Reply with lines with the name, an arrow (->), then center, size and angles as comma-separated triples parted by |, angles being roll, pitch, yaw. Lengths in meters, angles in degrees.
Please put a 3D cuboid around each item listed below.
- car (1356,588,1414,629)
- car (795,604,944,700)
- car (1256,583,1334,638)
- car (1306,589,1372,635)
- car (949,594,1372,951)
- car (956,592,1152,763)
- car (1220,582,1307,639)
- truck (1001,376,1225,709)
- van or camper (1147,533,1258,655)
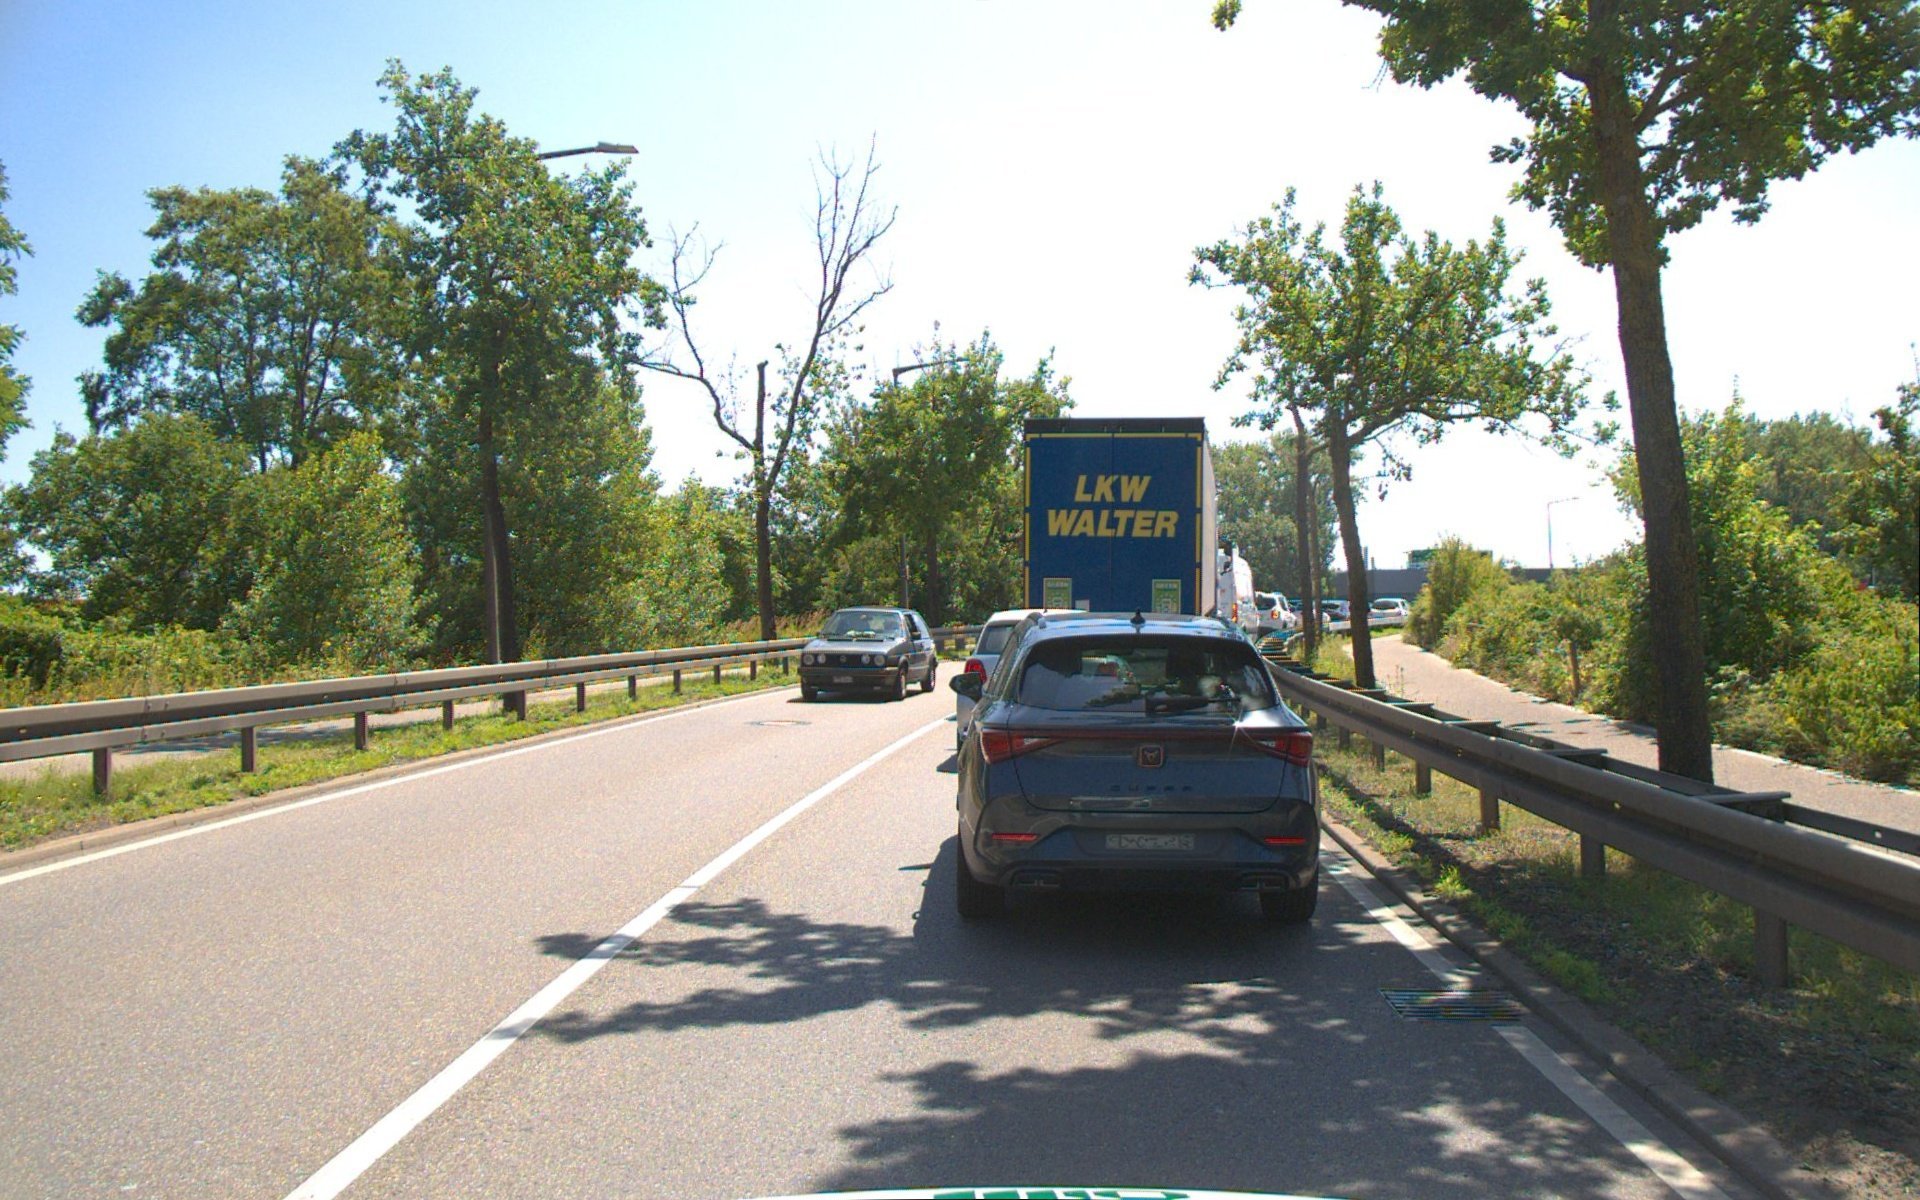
car -> 19.558, 0.380, 76.015 | 1.953, 1.799, 4.753 | 0, 0, 22
car -> -1.367, 0.780, 26.524 | 1.523, 1.396, 3.892 | 0, 0, 10
car -> 11.969, 0.365, 58.878 | 1.952, 1.840, 4.846 | 0, 0, 21
car -> 15.184, 0.463, 66.142 | 1.952, 1.747, 4.869 | 0, 0, 21
car -> 0.818, 0.716, 8.752 | 1.709, 1.457, 3.879 | 1, 0, -1
car -> 0.891, 0.710, 17.036 | 1.772, 1.534, 4.000 | 1, 0, 1
car -> 9.711, 0.329, 52.608 | 1.952, 1.742, 4.621 | 0, 0, 20
truck -> 3.417, -0.767, 31.041 | 2.887, 4.527, 16.812 | 0, 0, 10
van or camper -> 6.627, -0.156, 44.597 | 2.414, 3.051, 6.091 | 0, 0, 13
